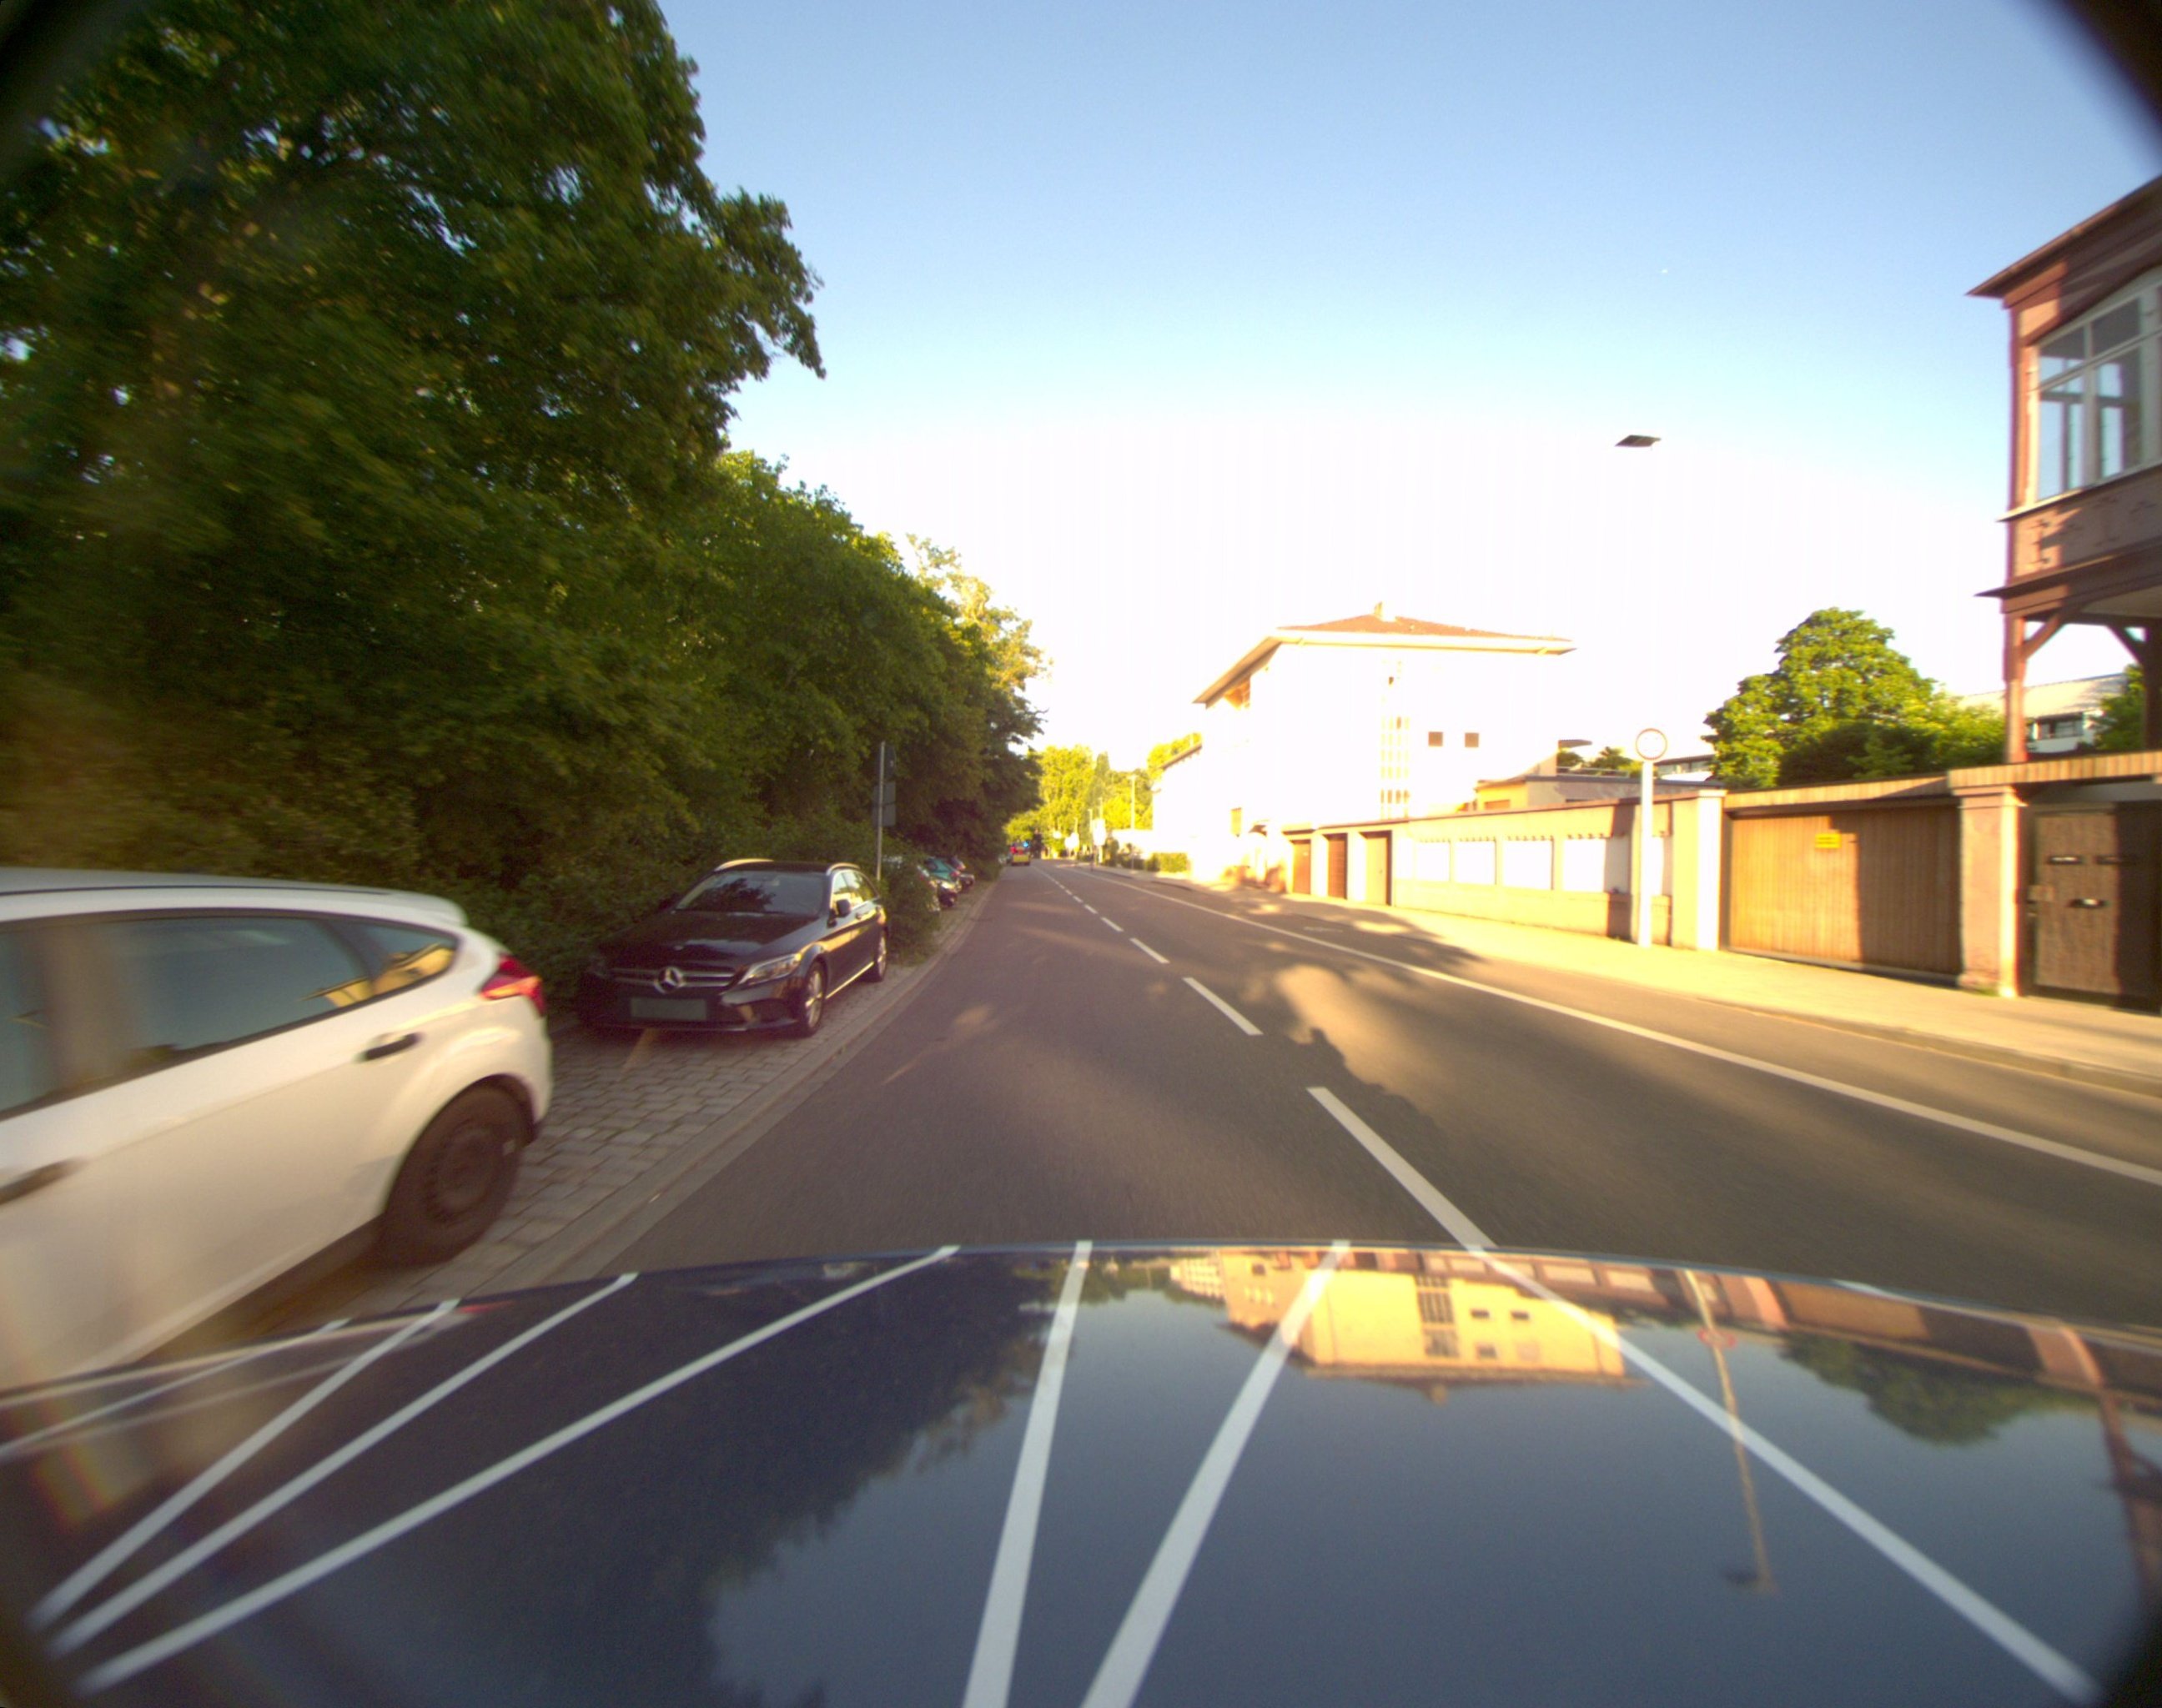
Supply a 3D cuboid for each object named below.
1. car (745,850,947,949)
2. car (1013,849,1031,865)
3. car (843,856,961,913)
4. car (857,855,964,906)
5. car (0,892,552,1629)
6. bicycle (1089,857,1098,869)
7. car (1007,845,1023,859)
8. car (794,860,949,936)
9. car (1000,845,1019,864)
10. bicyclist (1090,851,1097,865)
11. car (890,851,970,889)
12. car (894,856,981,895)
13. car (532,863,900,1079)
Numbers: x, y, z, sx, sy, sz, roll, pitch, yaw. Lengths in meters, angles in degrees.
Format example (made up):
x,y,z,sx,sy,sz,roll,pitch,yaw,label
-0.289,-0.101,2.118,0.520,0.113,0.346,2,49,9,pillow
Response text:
x,y,z,sx,sy,sz,roll,pitch,yaw,label
-4.216,0.794,14.046,3.265,1.714,1.679,1,1,-4,car
-7.900,0.349,100.655,2.230,2.002,4.887,0,0,-6,car
-5.044,0.842,21.544,3.121,1.519,1.620,0,1,-12,car
-5.355,0.822,24.151,3.119,1.519,1.528,1,1,-4,car
-3.188,0.924,1.290,1.752,1.478,4.175,1,0,-2,car
1.138,0.809,68.934,0.576,1.056,1.848,0,0,-6,bicycle
-10.260,-0.332,117.707,2.229,2.002,4.888,1,0,-2,car
-4.400,0.907,16.283,2.868,1.519,1.622,1,1,-1,car
-8.083,0.038,86.079,1.999,2.002,3.999,1,0,-2,car
1.134,0.319,68.993,0.479,1.258,0.567,0,1,-5,bicyclist
-6.348,0.656,32.154,2.985,1.518,1.530,1,1,4,car
-5.504,0.808,29.375,3.118,1.452,1.529,1,1,-3,car
-3.178,0.880,7.768,1.753,1.478,4.507,1,0,-3,car
